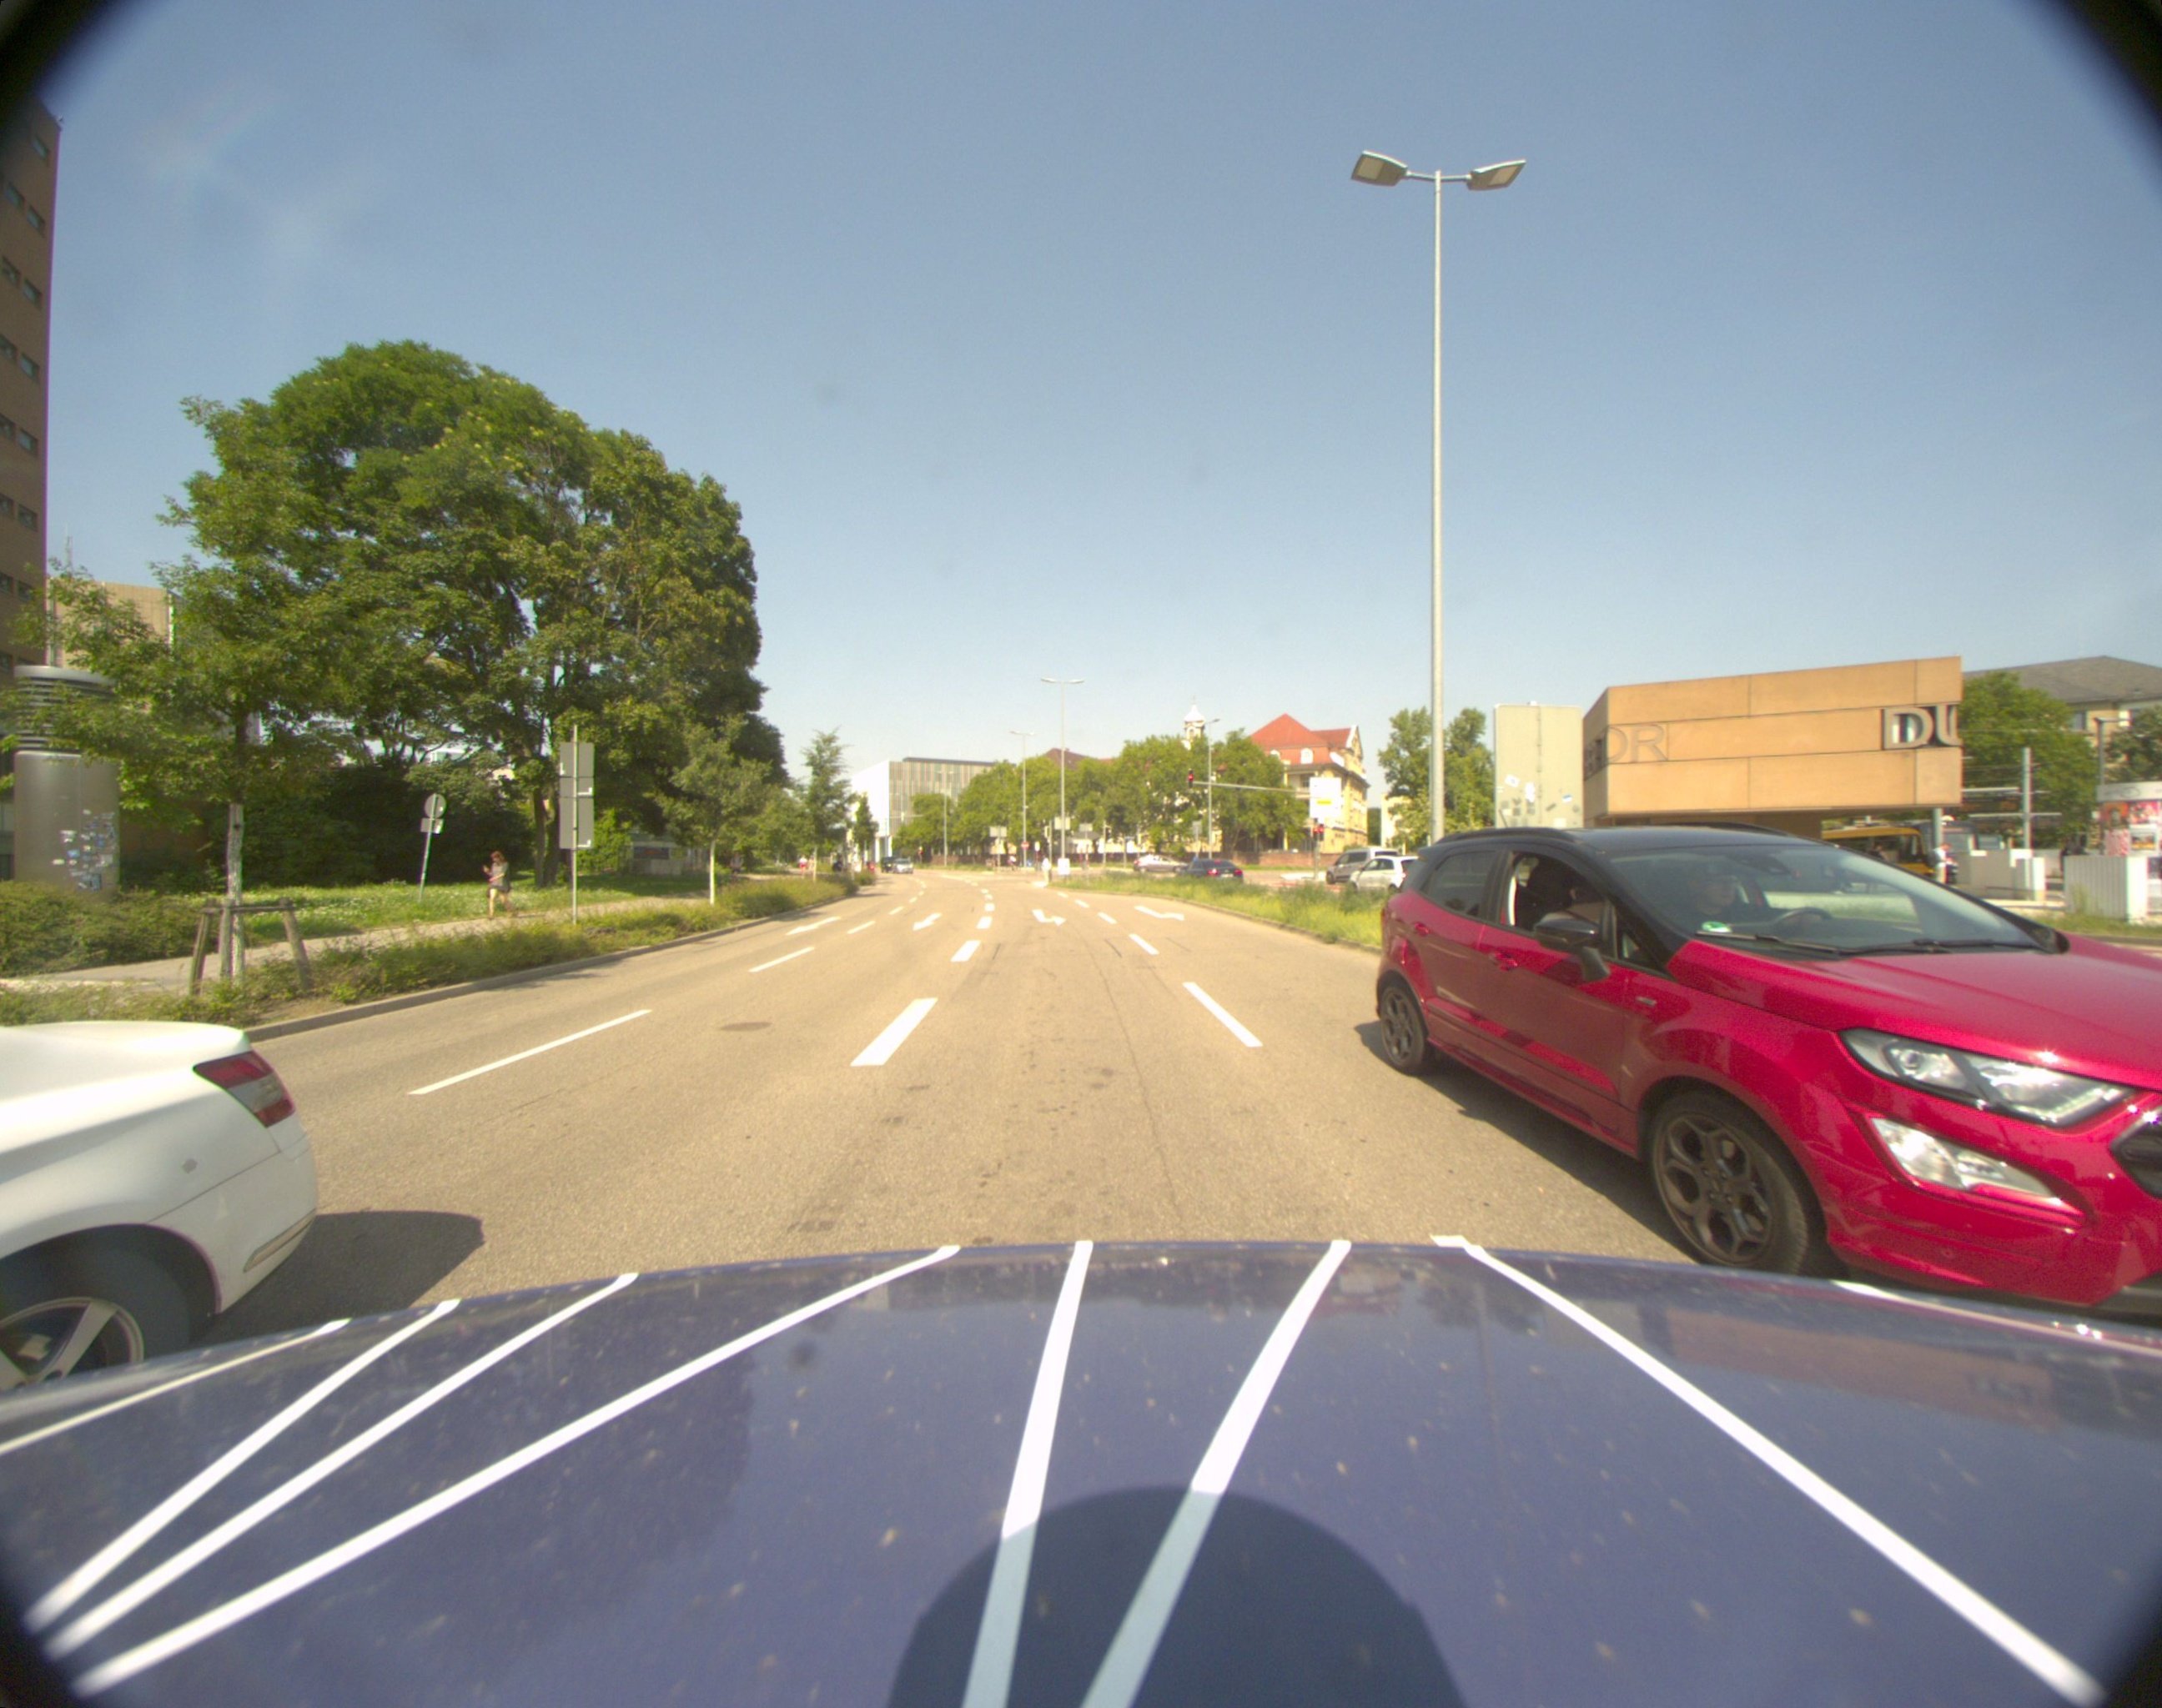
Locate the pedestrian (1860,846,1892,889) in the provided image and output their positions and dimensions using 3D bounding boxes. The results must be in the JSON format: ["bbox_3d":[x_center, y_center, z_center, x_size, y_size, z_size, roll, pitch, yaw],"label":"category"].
[{"bbox_3d":[27.666,0.455,26.441,0.539,1.488,0.541,0,1,-2],"label":"pedestrian"}]

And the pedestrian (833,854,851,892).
[{"bbox_3d":[-12.256,0.970,38.939,0.823,1.892,0.630,-1,1,-13],"label":"pedestrian"}]

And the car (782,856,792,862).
[{"bbox_3d":[-82.336,1.429,212.631,1.877,1.521,4.522,0,0,-32],"label":"car"}]

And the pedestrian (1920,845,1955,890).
[{"bbox_3d":[28.627,0.442,25.389,0.539,1.488,0.541,0,1,-2],"label":"pedestrian"}]

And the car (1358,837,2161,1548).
[{"bbox_3d":[2.937,0.755,3.656,1.694,1.577,3.844,-2,0,-1],"label":"car"}]

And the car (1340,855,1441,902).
[{"bbox_3d":[10.351,0.761,25.672,1.527,1.470,3.474,0,0,-11],"label":"car"}]

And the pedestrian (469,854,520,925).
[{"bbox_3d":[-14.405,0.855,18.684,0.672,1.689,0.805,0,0,-10],"label":"pedestrian"}]

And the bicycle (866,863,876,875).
[{"bbox_3d":[-21.484,1.531,77.764,0.594,1.162,2.234,0,0,-3],"label":"bicycle"}]

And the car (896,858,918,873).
[{"bbox_3d":[-18.715,1.252,81.659,1.661,1.521,4.526,-2,0,-20],"label":"car"}]

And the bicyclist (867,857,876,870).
[{"bbox_3d":[-21.493,0.966,77.897,0.679,1.392,1.049,0,0,-4],"label":"bicyclist"}]

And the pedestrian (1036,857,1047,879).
[{"bbox_3d":[-2.464,0.863,46.928,0.605,1.291,0.617,-2,1,-5],"label":"pedestrian"}]

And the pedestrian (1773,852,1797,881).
[{"bbox_3d":[26.314,0.461,28.407,0.538,1.093,0.543,0,1,31],"label":"pedestrian"}]

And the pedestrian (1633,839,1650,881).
[{"bbox_3d":[22.100,0.235,29.963,0.540,1.615,0.689,0,1,35],"label":"pedestrian"}]

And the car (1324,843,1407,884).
[{"bbox_3d":[13.408,0.421,36.083,1.869,1.843,3.911,0,1,-12],"label":"car"}]

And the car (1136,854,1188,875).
[{"bbox_3d":[6.279,0.823,59.383,3.996,1.608,1.800,0,0,4],"label":"car"}]

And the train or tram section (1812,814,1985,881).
[{"bbox_3d":[47.726,-0.351,45.037,2.698,3.418,13.446,0,0,28],"label":"train or tram section"}]

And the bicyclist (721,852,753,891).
[{"bbox_3d":[-14.319,0.713,31.639,0.904,1.596,0.924,0,0,-2],"label":"bicyclist"}]

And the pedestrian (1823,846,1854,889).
[{"bbox_3d":[26.491,0.450,26.571,0.539,1.488,0.541,0,1,-2],"label":"pedestrian"}]

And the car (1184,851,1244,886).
[{"bbox_3d":[5.684,0.591,32.864,1.526,1.417,3.474,0,0,-9],"label":"car"}]

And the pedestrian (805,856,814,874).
[{"bbox_3d":[-21.001,0.850,58.843,0.618,1.291,0.436,-3,1,-20],"label":"pedestrian"}]

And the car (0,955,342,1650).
[{"bbox_3d":[-3.301,1.038,0.113,1.773,1.420,4.610,0,0,2],"label":"car"}]

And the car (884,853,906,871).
[{"bbox_3d":[-21.620,0.936,88.379,1.893,1.908,4.525,-2,0,-21],"label":"car"}]

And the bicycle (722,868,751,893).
[{"bbox_3d":[-14.253,1.087,31.489,0.357,0.974,1.782,0,0,0],"label":"bicycle"}]

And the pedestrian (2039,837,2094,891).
[{"bbox_3d":[27.951,0.280,21.550,0.771,1.488,0.606,0,1,-2],"label":"pedestrian"}]

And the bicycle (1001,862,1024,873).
[{"bbox_3d":[-6.753,1.321,75.225,2.267,1.070,0.659,0,0,-7],"label":"bicycle"}]

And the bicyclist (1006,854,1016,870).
[{"bbox_3d":[-6.920,0.758,75.202,1.017,1.542,0.718,0,0,-7],"label":"bicyclist"}]

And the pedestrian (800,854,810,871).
[{"bbox_3d":[-21.235,0.673,58.520,0.635,1.291,0.486,-3,1,-18],"label":"pedestrian"}]

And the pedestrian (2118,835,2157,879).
[{"bbox_3d":[44.050,0.128,31.689,0.804,1.812,0.534,0,1,28],"label":"pedestrian"}]
